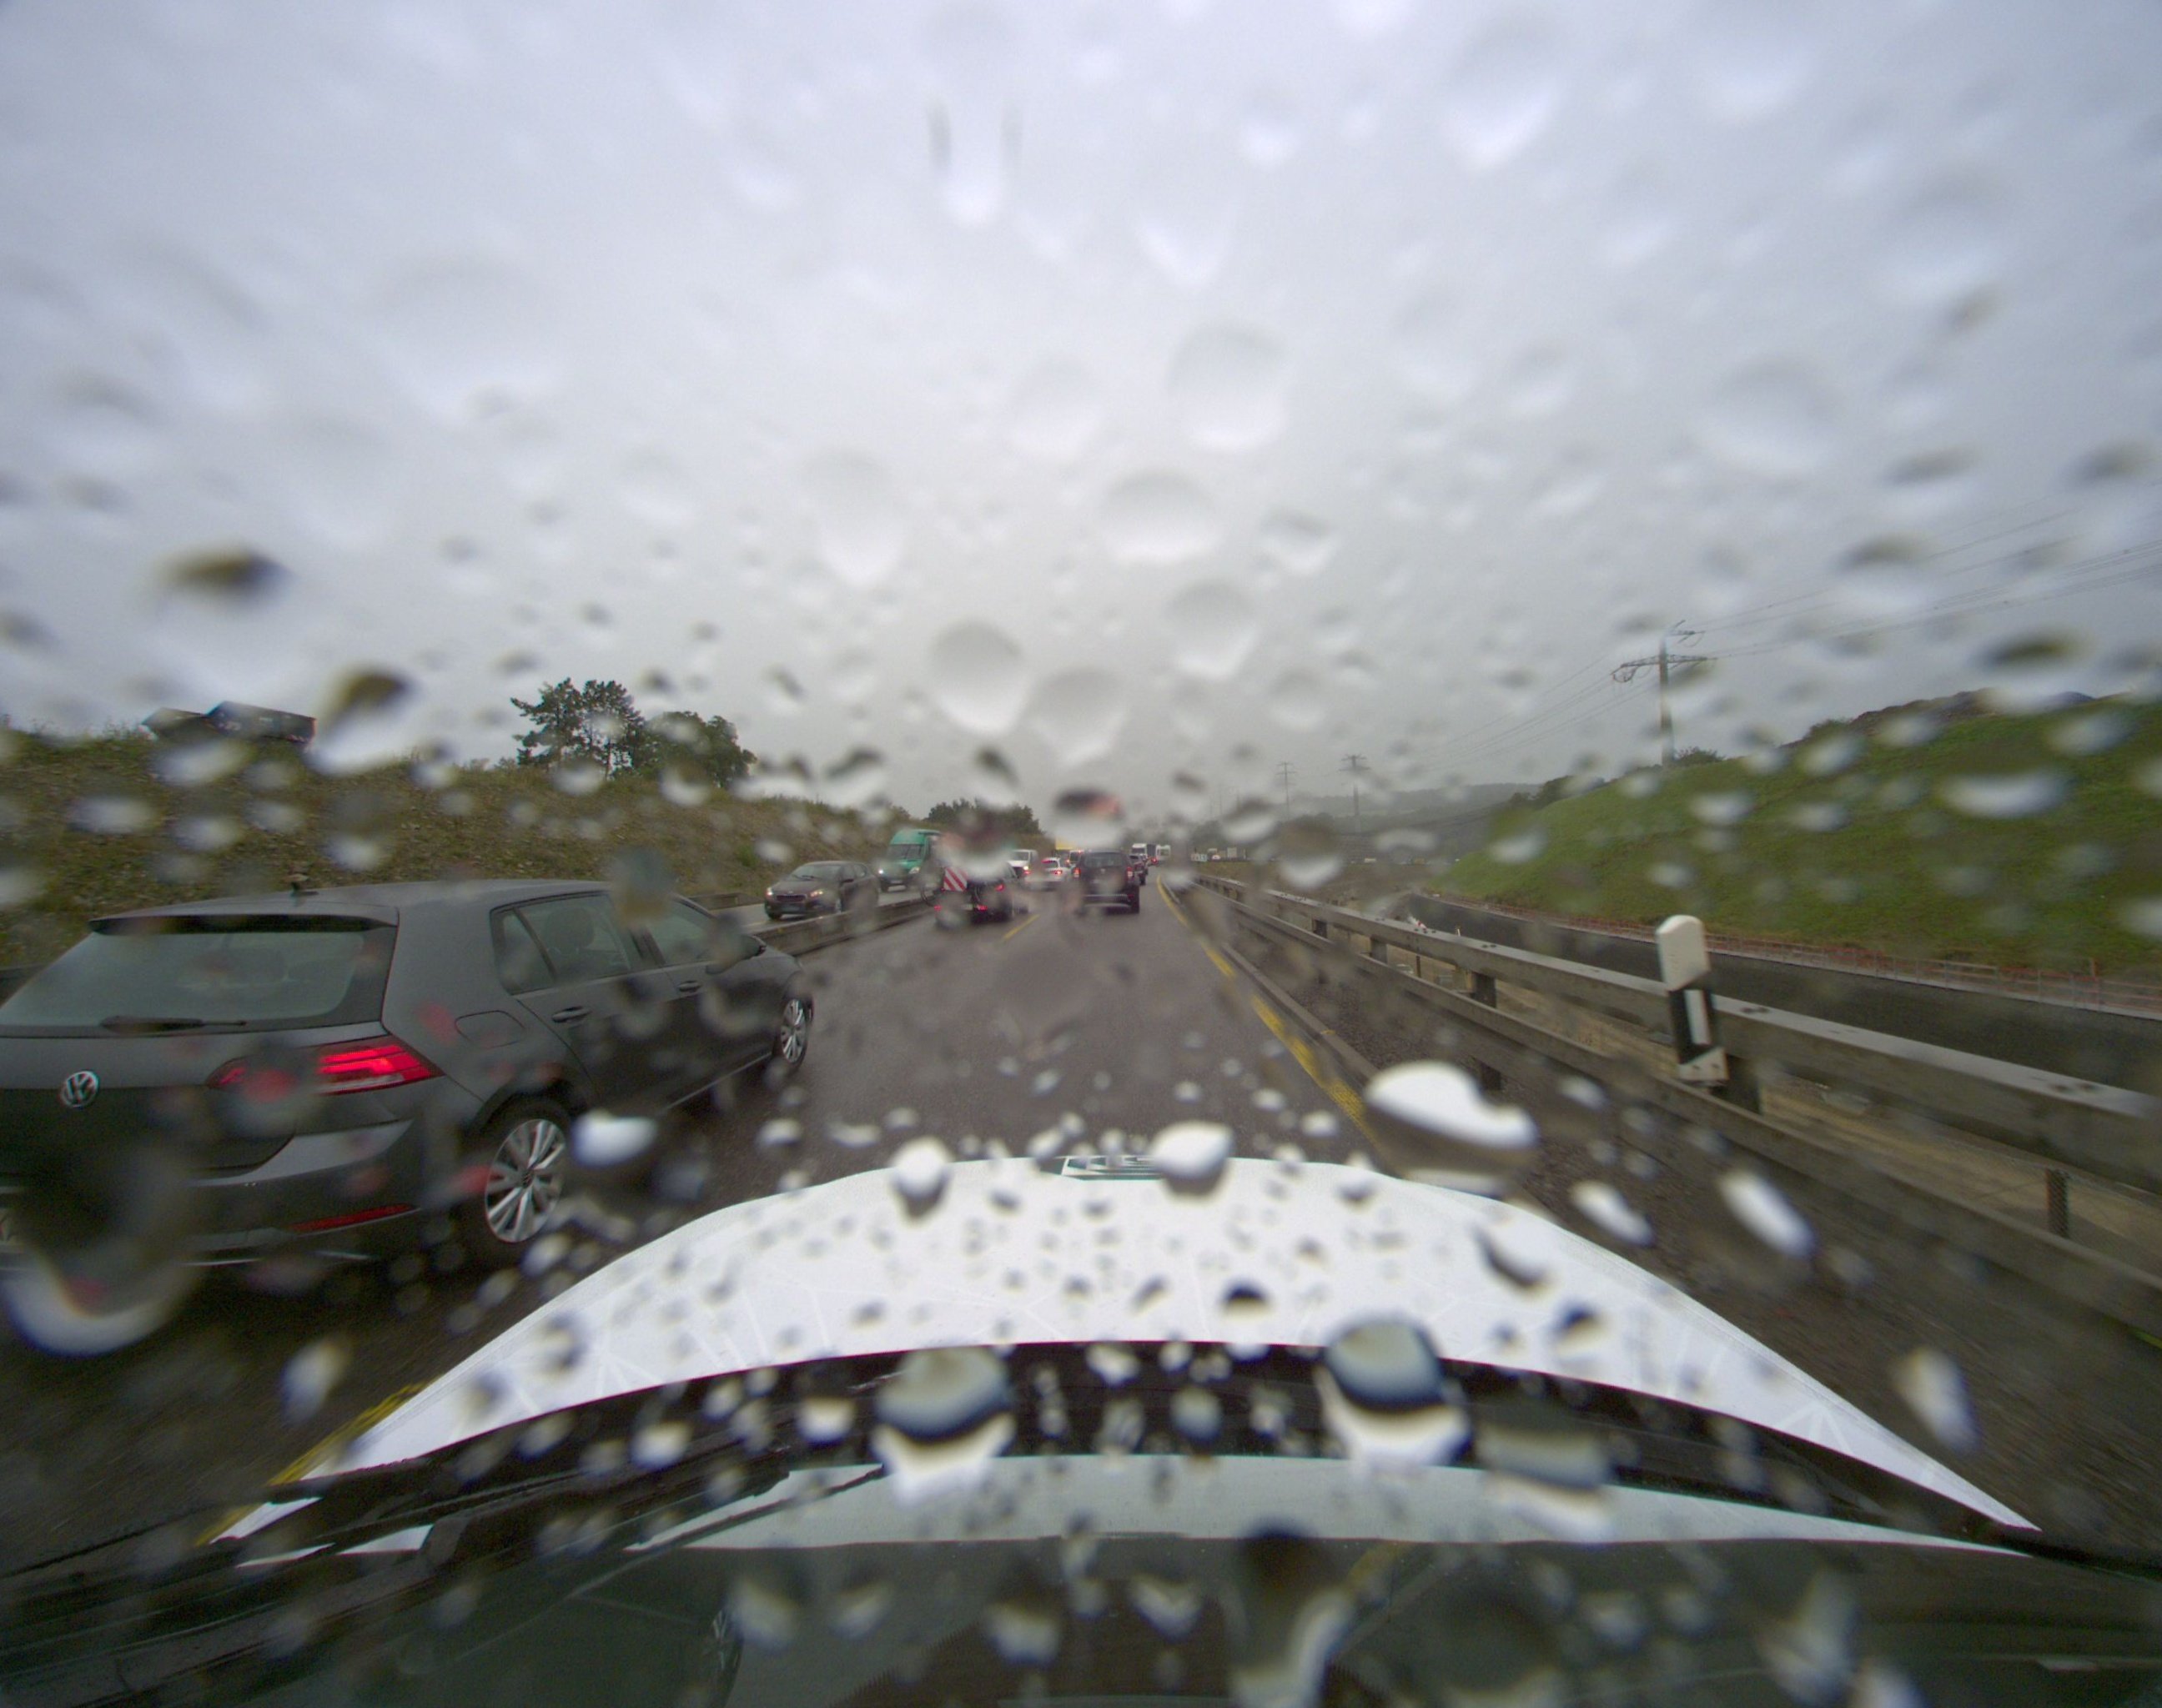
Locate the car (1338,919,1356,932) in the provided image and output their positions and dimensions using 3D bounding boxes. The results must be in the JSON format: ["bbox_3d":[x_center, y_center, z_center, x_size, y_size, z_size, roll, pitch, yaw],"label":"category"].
[{"bbox_3d":[50.396,13.514,154.345,2.353,2.013,4.006,0,0,6],"label":"car"}]

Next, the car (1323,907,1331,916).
[{"bbox_3d":[63.229,14.780,209.361,1.977,2.013,4.019,0,0,19],"label":"car"}]

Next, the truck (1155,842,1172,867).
[{"bbox_3d":[10.825,0.051,106.661,2.138,3.166,6.471,0,0,6],"label":"truck"}]

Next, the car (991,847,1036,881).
[{"bbox_3d":[-3.928,0.554,48.300,1.992,1.887,5.278,0,0,3],"label":"car"}]

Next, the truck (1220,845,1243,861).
[{"bbox_3d":[41.310,-0.362,222.471,4.681,4.150,15.749,0,0,16],"label":"truck"}]

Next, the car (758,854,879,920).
[{"bbox_3d":[-6.755,0.785,21.411,1.707,1.536,4.049,0,0,3],"label":"car"}]

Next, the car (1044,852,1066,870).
[{"bbox_3d":[-2.276,0.610,72.594,1.754,1.597,4.001,0,0,2],"label":"car"}]

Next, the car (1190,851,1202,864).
[{"bbox_3d":[17.681,0.516,124.821,1.764,1.916,4.010,0,0,9],"label":"car"}]

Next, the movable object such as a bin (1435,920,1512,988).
[{"bbox_3d":[25.897,6.548,53.905,3.200,3.867,4.126,1,1,3],"label":"movable object such as a bin"}]

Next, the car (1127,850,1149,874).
[{"bbox_3d":[4.138,0.558,59.275,1.524,1.640,4.017,0,0,4],"label":"car"}]

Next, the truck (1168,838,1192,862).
[{"bbox_3d":[16.325,-0.611,133.620,3.180,3.761,8.536,0,0,11],"label":"truck"}]

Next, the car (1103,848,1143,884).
[{"bbox_3d":[2.168,0.586,40.781,1.859,1.708,4.006,0,0,5],"label":"car"}]

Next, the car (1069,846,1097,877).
[{"bbox_3d":[0.183,0.474,52.266,1.654,1.880,4.021,0,0,2],"label":"car"}]

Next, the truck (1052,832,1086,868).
[{"bbox_3d":[-1.294,-0.413,94.310,2.754,3.996,8.438,-1,0,6],"label":"truck"}]

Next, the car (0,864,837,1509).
[{"bbox_3d":[-2.808,0.871,4.204,1.608,1.506,4.370,-2,0,1],"label":"car"}]

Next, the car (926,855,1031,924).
[{"bbox_3d":[-2.353,0.774,19.622,1.821,1.476,3.779,-1,0,3],"label":"car"}]

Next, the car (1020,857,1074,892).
[{"bbox_3d":[-1.456,0.862,36.493,1.859,1.460,4.554,0,0,5],"label":"car"}]

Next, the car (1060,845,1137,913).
[{"bbox_3d":[0.556,0.622,21.777,1.796,1.646,3.781,-1,0,5],"label":"car"}]

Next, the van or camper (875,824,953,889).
[{"bbox_3d":[-7.695,0.112,38.185,2.091,2.817,5.948,0,0,3],"label":"van or camper"}]
